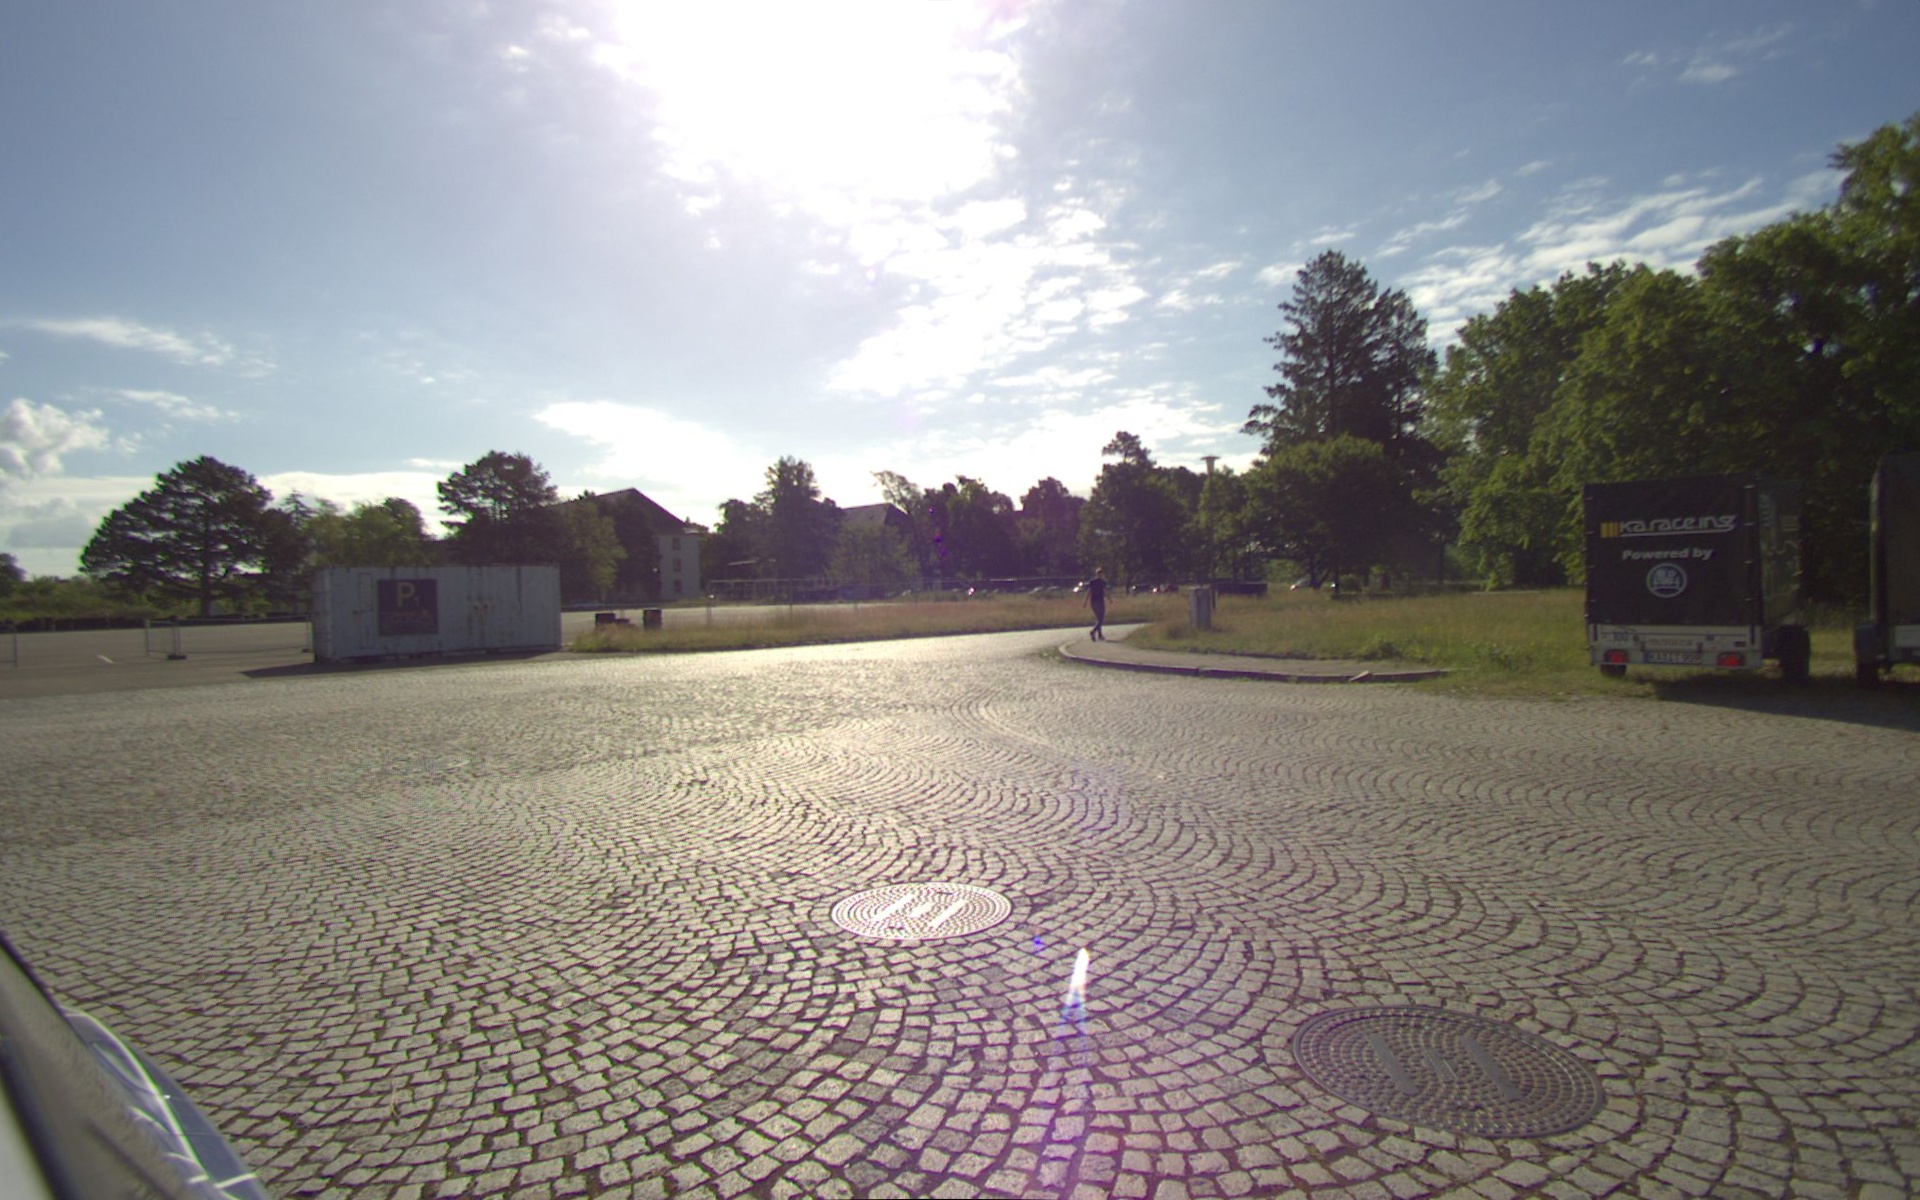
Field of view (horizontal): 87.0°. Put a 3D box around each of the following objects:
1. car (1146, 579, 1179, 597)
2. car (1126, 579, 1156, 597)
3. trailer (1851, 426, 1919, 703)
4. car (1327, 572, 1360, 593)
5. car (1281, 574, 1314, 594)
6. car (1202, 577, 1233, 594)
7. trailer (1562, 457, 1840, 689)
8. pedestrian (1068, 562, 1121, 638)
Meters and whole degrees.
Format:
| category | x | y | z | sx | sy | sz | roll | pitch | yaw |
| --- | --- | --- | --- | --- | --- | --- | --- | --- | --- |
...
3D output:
| category | x | y | z | sx | sy | sz | roll | pitch | yaw |
| --- | --- | --- | --- | --- | --- | --- | --- | --- | --- |
| car | 24.120 | -1.485 | 120.282 | 2.001 | 2.029 | 3.943 | -1 | 1 | 44 |
| car | 21.849 | -1.415 | 122.197 | 1.997 | 2.029 | 3.950 | -1 | 1 | 37 |
| trailer | 10.400 | -0.429 | 10.202 | 1.941 | 2.408 | 4.791 | -1 | 2 | 40 |
| car | 39.326 | -1.777 | 103.634 | 1.998 | 2.029 | 3.948 | -1 | 1 | 39 |
| car | 35.898 | -1.736 | 107.538 | 1.998 | 2.029 | 3.948 | -1 | 1 | 39 |
| car | 29.240 | -1.637 | 114.829 | 1.998 | 1.829 | 3.948 | -1 | 1 | 39 |
| trailer | 9.073 | -0.362 | 12.233 | 4.403 | 2.289 | 2.015 | -4 | 2 | -45 |
| pedestrian | 3.519 | -0.001 | 26.434 | 1.125 | 1.928 | 0.801 | -2 | 1 | -44 |
